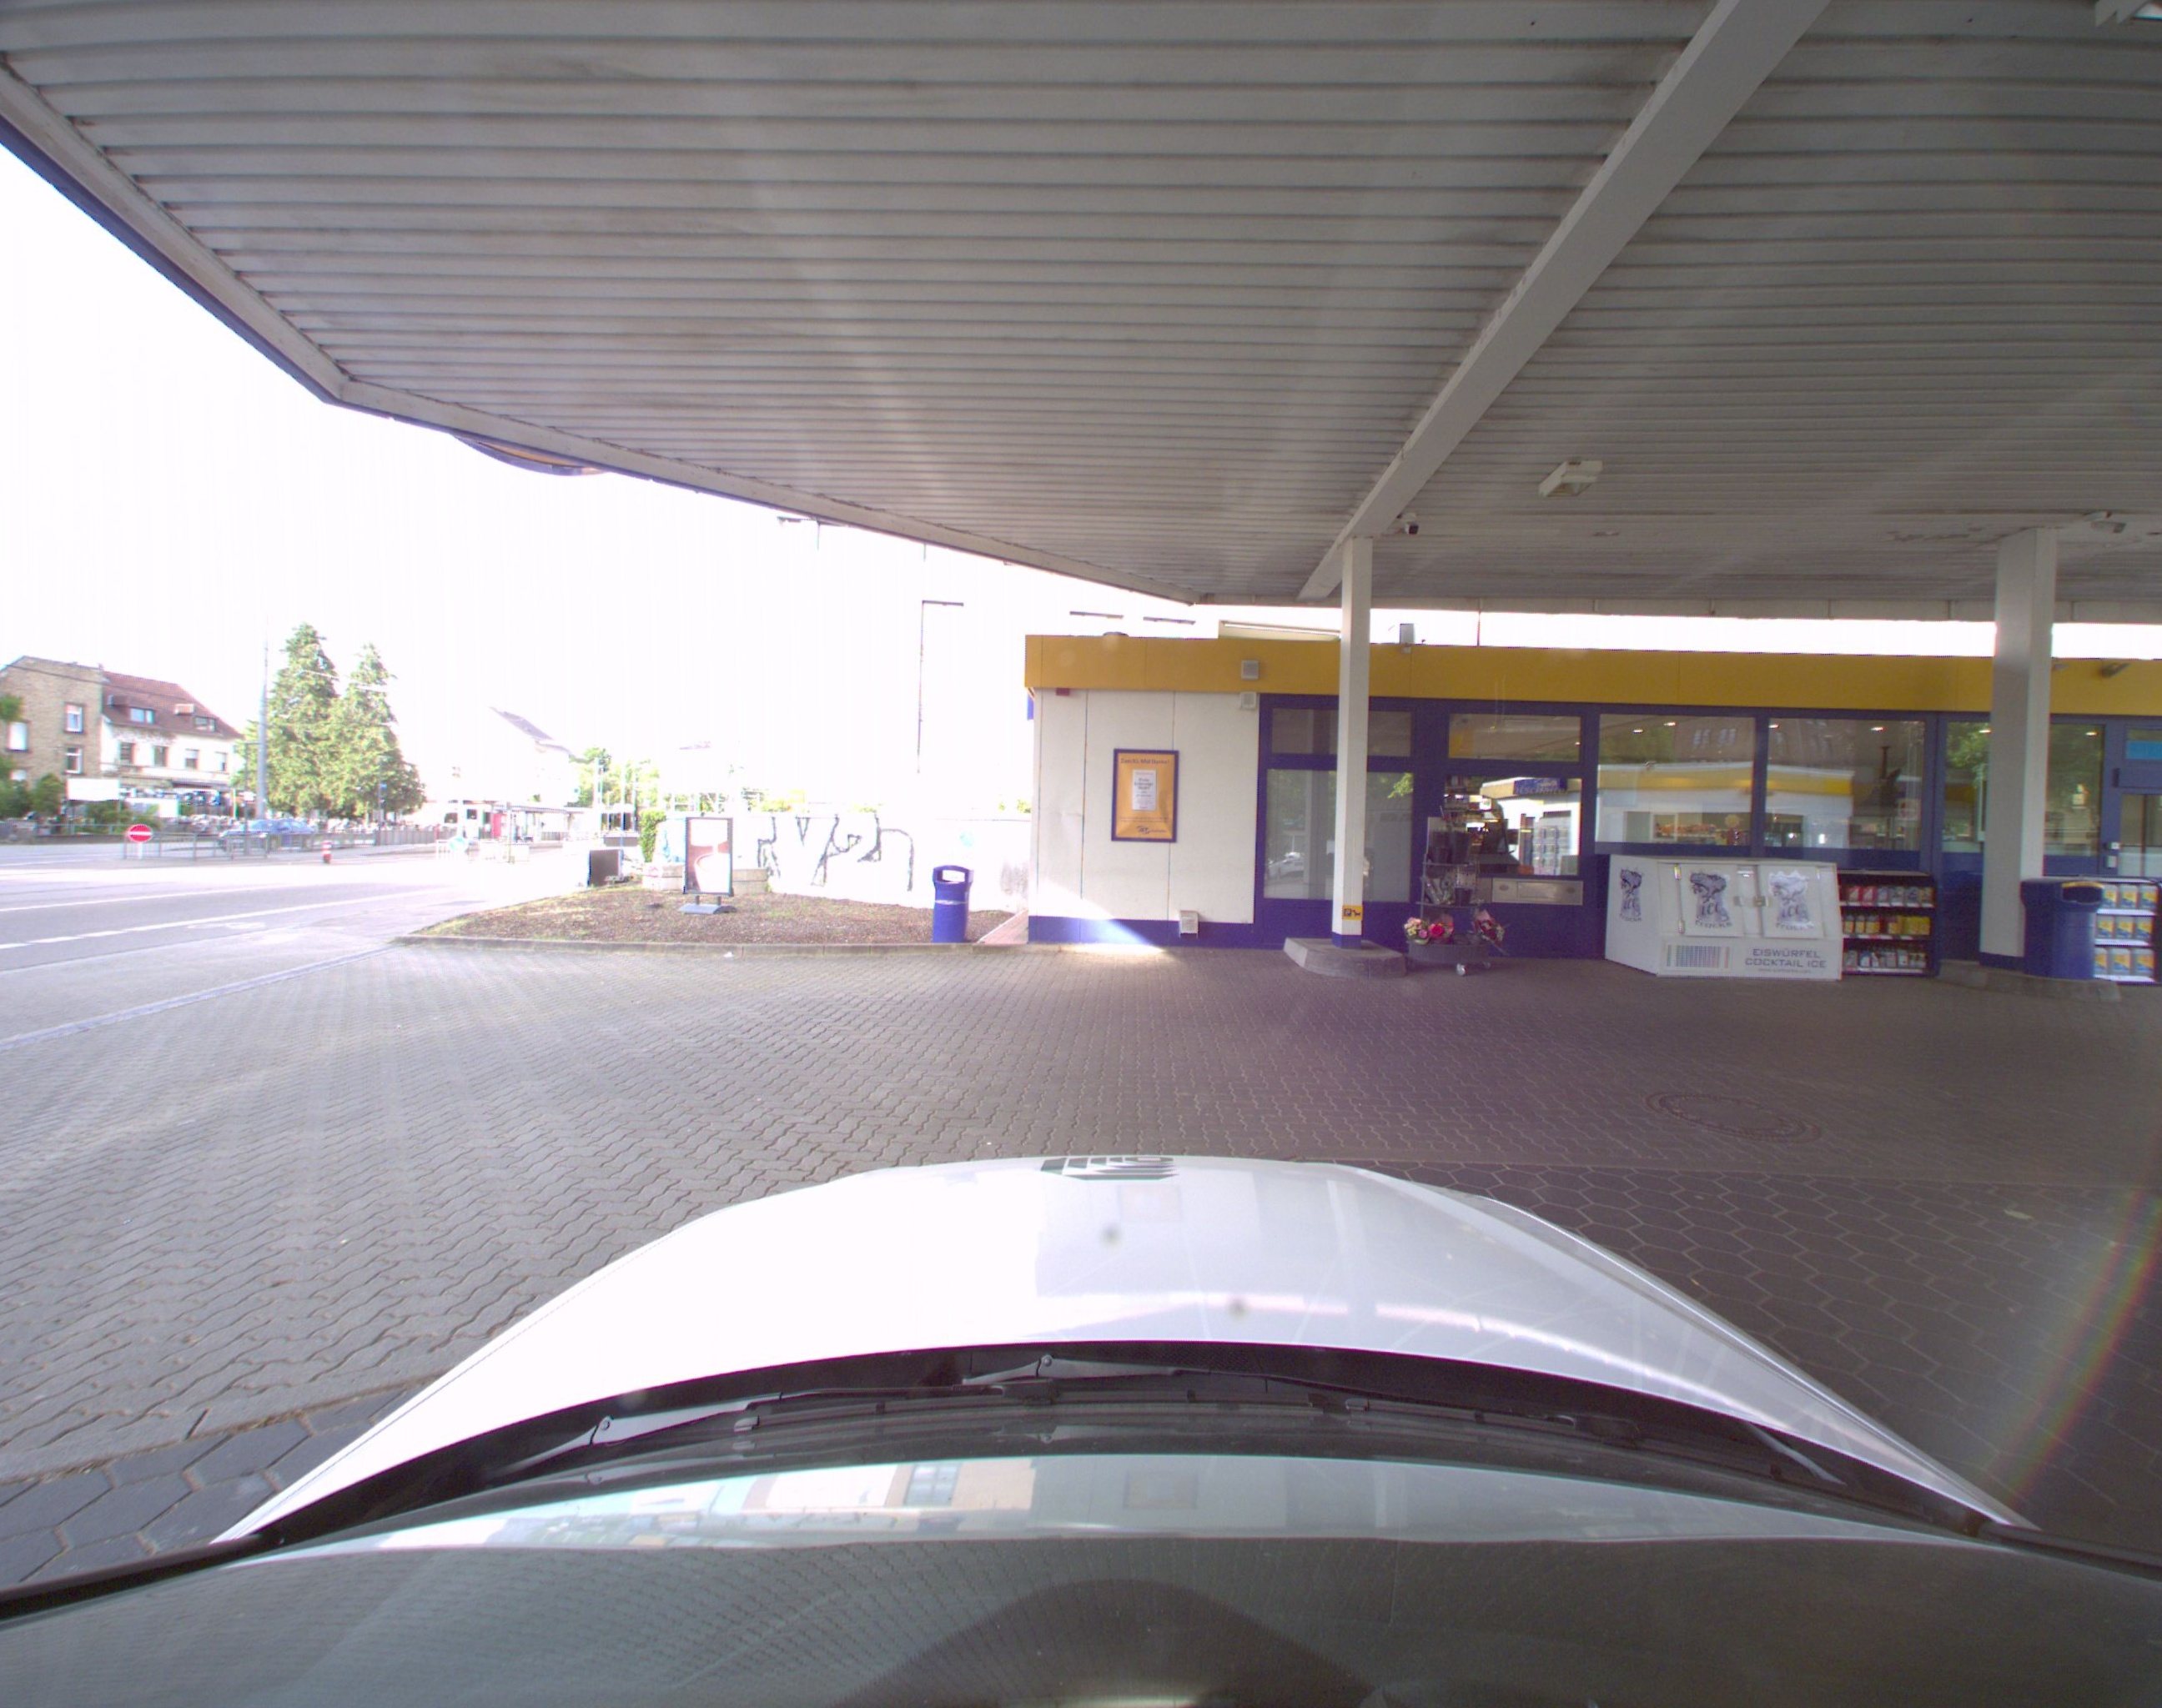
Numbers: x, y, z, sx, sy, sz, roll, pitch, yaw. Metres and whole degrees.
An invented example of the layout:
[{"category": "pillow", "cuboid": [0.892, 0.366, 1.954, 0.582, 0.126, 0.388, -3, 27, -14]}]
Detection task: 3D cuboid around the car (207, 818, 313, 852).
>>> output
[{"category": "car", "cuboid": [-38.009, -0.873, 37.860, 1.864, 1.469, 4.111, 1, 1, -20]}]
